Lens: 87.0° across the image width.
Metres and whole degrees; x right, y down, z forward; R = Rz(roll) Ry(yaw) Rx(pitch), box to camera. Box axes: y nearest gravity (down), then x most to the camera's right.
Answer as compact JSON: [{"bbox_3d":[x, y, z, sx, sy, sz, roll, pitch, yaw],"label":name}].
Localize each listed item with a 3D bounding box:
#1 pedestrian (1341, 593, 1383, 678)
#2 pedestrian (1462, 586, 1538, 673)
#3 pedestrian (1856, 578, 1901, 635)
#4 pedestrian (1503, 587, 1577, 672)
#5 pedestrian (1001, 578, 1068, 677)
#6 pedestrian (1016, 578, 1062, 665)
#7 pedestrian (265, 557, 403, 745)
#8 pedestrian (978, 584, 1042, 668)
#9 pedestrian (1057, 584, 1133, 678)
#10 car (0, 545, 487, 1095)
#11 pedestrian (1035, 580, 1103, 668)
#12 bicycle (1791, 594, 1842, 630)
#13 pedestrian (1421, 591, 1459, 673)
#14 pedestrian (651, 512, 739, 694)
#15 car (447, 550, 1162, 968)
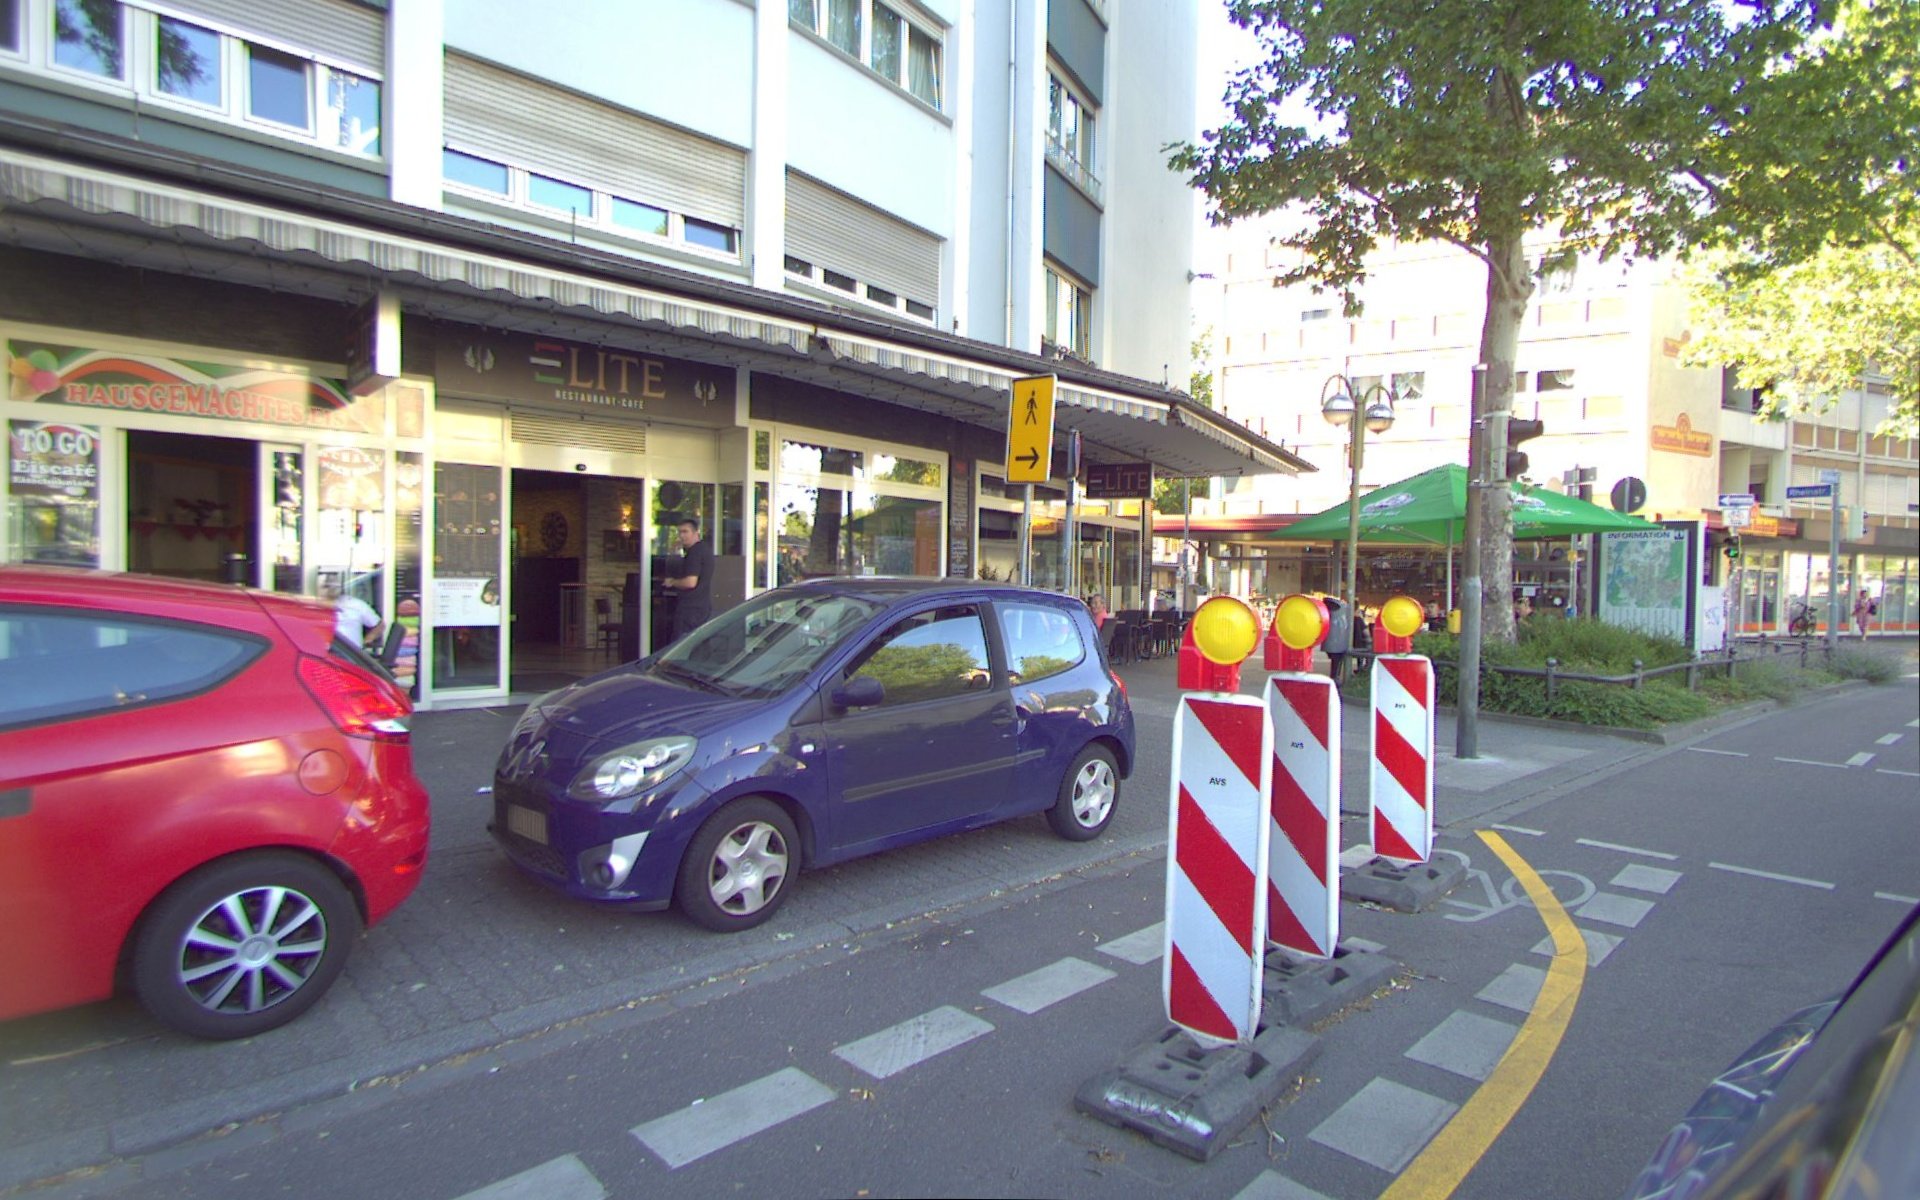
[{"bbox_3d":[5.943,0.514,14.969,0.460,1.235,0.432,1,0,5],"label":"pedestrian"},{"bbox_3d":[8.444,0.445,15.834,0.752,1.301,0.721,1,1,-27],"label":"pedestrian"},{"bbox_3d":[29.426,0.206,32.424,0.883,1.779,0.751,1,1,-24],"label":"pedestrian"},{"bbox_3d":[9.294,0.459,16.236,0.753,1.301,0.721,1,1,-28],"label":"pedestrian"},{"bbox_3d":[1.018,0.356,13.766,0.644,1.267,0.711,3,1,25],"label":"pedestrian"},{"bbox_3d":[1.192,0.318,15.292,0.541,1.259,0.521,3,1,-7],"label":"pedestrian"},{"bbox_3d":[-4.798,0.331,7.726,0.765,1.247,1.207,0,5,-38],"label":"pedestrian"},{"bbox_3d":[0.729,0.362,14.670,0.710,1.144,0.645,3,1,25],"label":"pedestrian"},{"bbox_3d":[1.882,0.412,14.041,0.838,1.213,0.644,3,1,27],"label":"pedestrian"},{"bbox_3d":[-3.619,0.571,2.866,1.668,1.446,3.786,5,4,44],"label":"car"},{"bbox_3d":[1.613,0.343,14.931,0.664,1.233,0.706,3,1,43],"label":"pedestrian"},{"bbox_3d":[28.153,0.393,33.264,1.933,1.157,0.530,0,1,-26],"label":"bicycle"},{"bbox_3d":[7.481,0.488,15.784,0.427,1.234,0.465,3,2,20],"label":"pedestrian"},{"bbox_3d":[-2.666,0.017,10.172,0.579,1.756,0.596,1,3,-43],"label":"pedestrian"},{"bbox_3d":[-0.631,0.554,5.526,3.545,1.484,1.621,0,4,-44],"label":"car"}]
